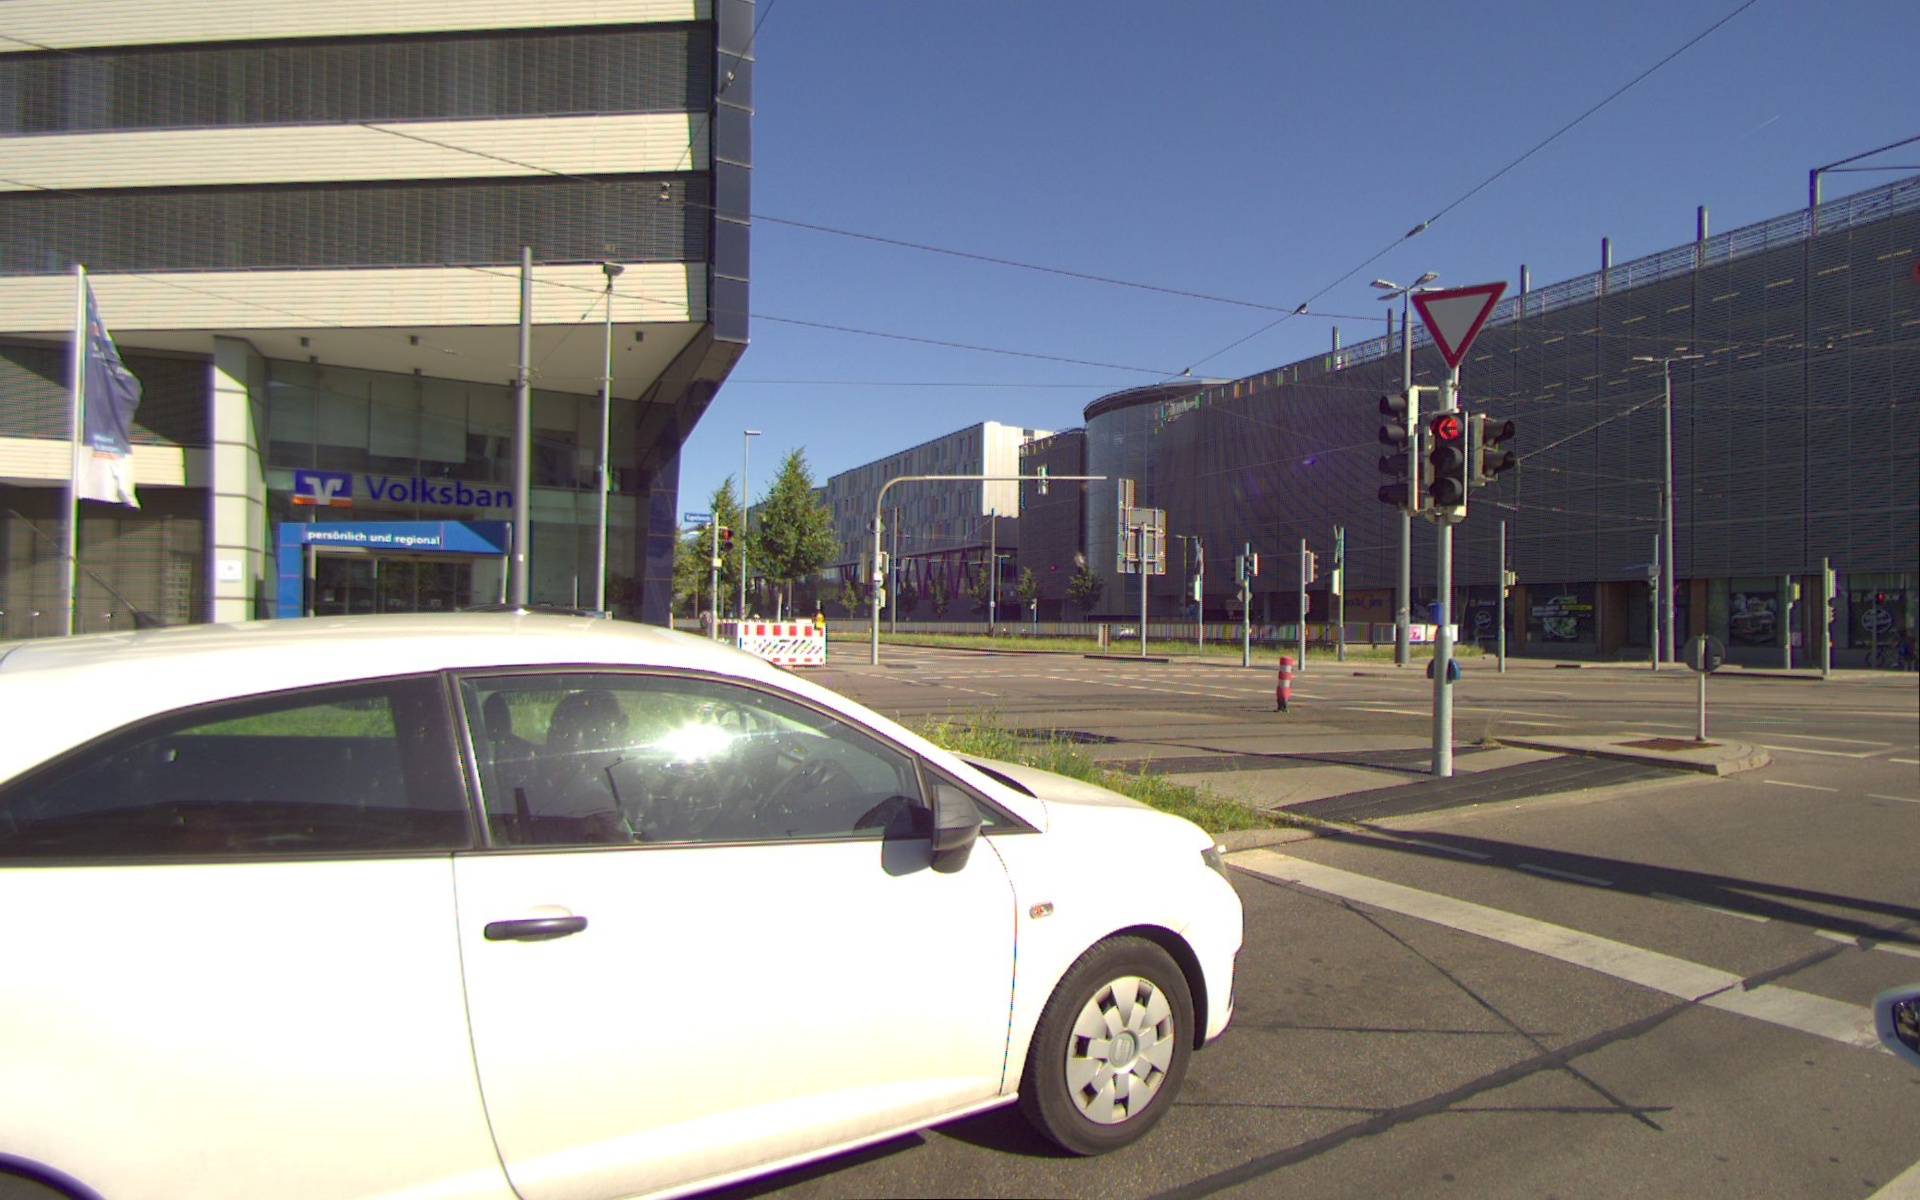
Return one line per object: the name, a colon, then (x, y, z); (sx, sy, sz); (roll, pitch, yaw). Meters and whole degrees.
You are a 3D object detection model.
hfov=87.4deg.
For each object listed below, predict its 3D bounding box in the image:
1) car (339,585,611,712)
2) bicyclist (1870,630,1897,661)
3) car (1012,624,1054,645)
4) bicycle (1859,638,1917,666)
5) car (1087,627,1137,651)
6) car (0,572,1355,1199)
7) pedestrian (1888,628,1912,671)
car: (-7.389, 0.713, 15.423); (3.520, 1.729, 1.564); (1, -2, -38)
bicyclist: (42.393, 2.091, 46.118); (0.559, 1.405, 0.750); (-1, -1, -30)
car: (6.814, 3.230, 94.395); (1.819, 1.605, 4.268); (2, 2, -30)
bicycle: (42.454, 2.372, 45.986); (0.562, 1.233, 1.849); (-1, -1, -30)
car: (12.482, 3.204, 82.710); (1.819, 1.887, 4.306); (2, -1, -30)
car: (-0.957, 0.736, 2.791); (3.977, 1.460, 1.723); (2, 1, -31)
pedestrian: (39.970, 2.114, 42.729); (0.687, 1.821, 0.726); (-2, -3, 44)
